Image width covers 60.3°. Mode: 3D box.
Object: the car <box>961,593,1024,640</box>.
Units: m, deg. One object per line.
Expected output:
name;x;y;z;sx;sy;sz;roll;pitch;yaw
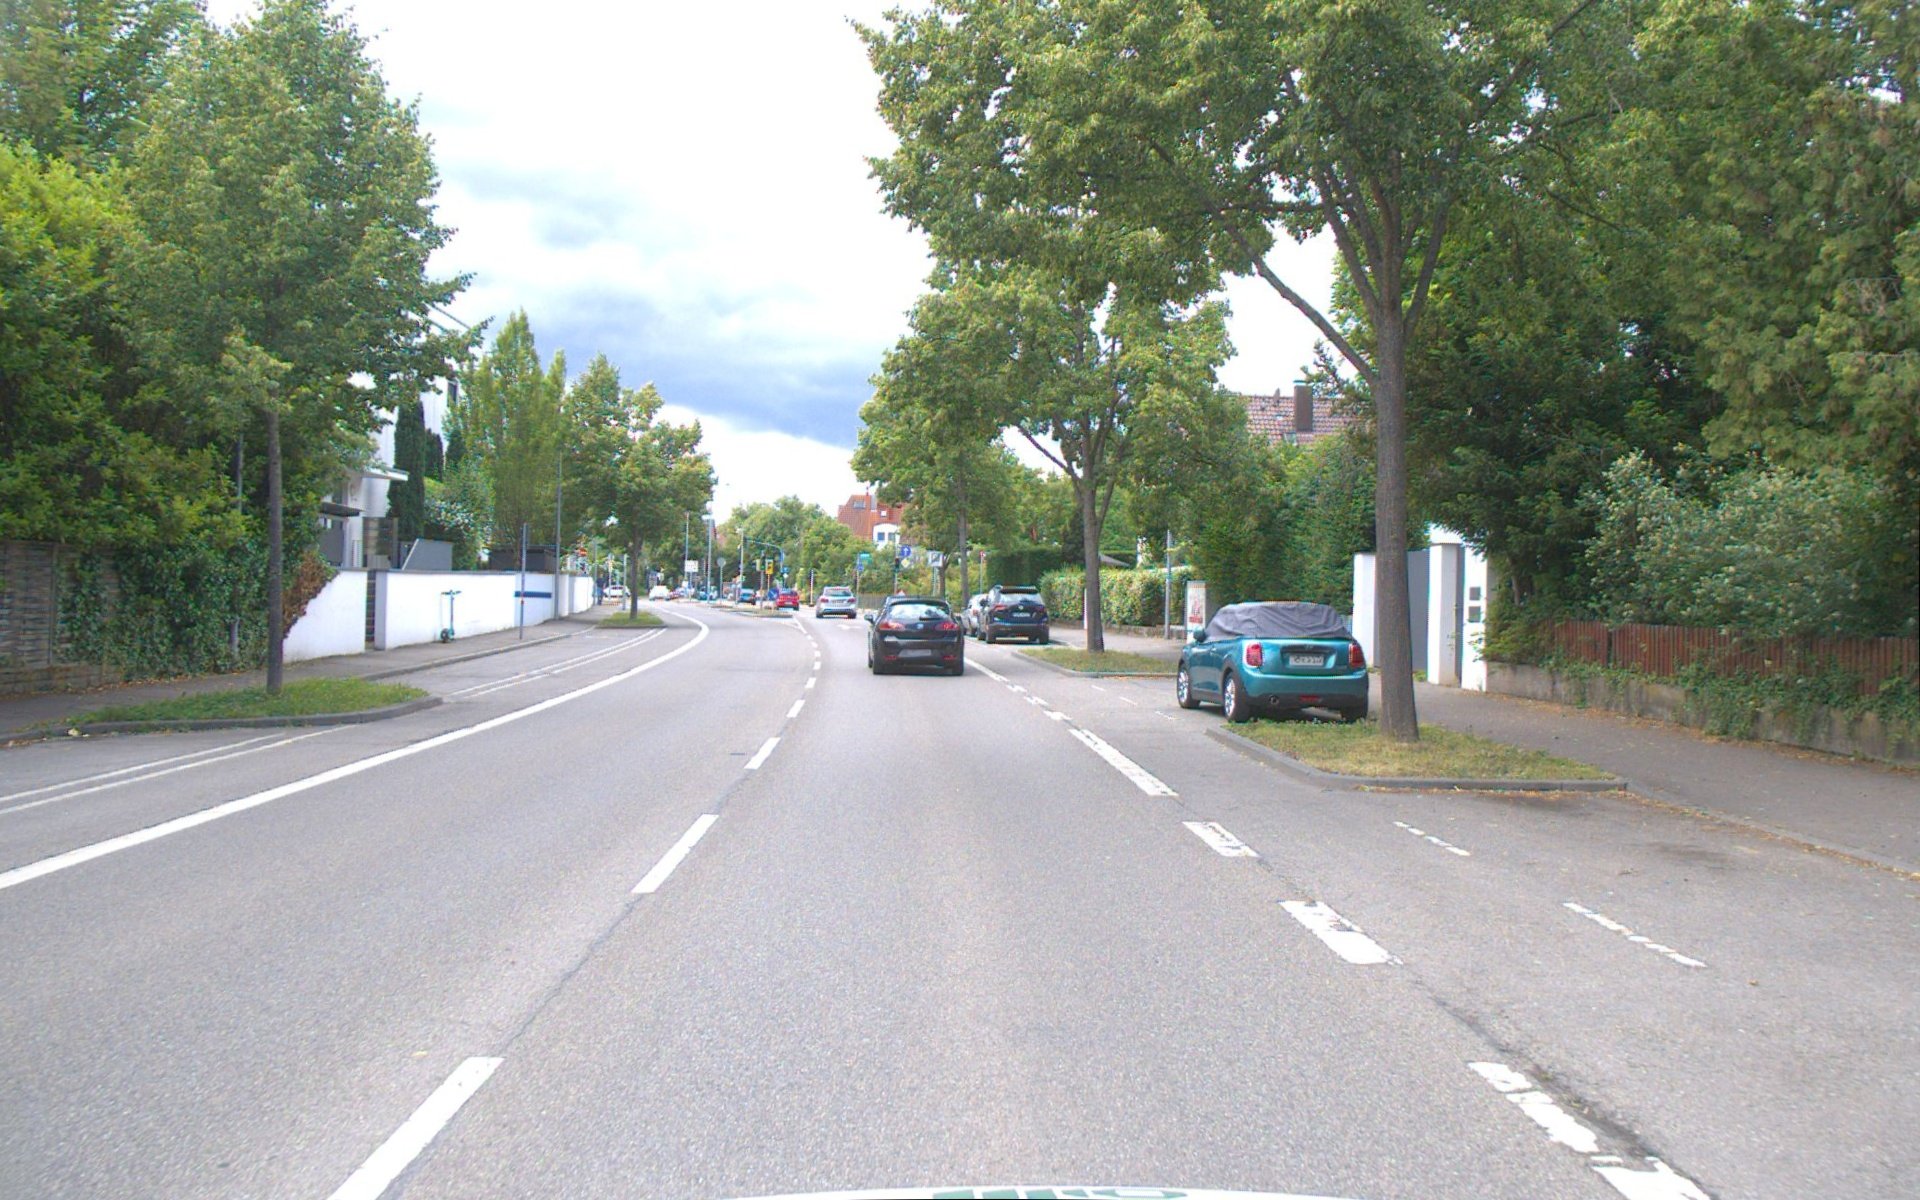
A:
car;1.048;0.543;54.814;1.653;1.474;3.574;1;0;-6

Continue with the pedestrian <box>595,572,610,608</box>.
pedestrian;-21.039;-0.556;97.389;0.738;2.090;0.723;2;-1;-10

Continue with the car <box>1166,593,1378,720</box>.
car;3.885;0.657;21.255;1.650;1.457;4.040;1;0;-5

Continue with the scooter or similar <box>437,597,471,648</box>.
scooter or similar;-11.759;0.512;38.464;0.492;1.175;1.300;1;0;-5

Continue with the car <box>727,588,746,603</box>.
car;-26.124;-0.547;193.380;1.934;1.705;3.874;1;0;-3

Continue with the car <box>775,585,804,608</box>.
car;-11.924;-0.213;115.778;1.955;1.557;3.995;1;0;-6

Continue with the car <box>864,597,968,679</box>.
car;-0.904;0.693;31.762;1.748;1.474;3.554;1;0;-5

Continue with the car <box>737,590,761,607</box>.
car;-19.198;-0.126;150.600;1.954;1.534;3.996;2;-1;-5

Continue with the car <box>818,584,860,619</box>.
car;-5.759;0.049;79.275;1.954;1.585;3.998;-1;1;-4

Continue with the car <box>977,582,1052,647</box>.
car;1.568;0.413;48.817;1.753;1.803;3.978;1;0;-5
